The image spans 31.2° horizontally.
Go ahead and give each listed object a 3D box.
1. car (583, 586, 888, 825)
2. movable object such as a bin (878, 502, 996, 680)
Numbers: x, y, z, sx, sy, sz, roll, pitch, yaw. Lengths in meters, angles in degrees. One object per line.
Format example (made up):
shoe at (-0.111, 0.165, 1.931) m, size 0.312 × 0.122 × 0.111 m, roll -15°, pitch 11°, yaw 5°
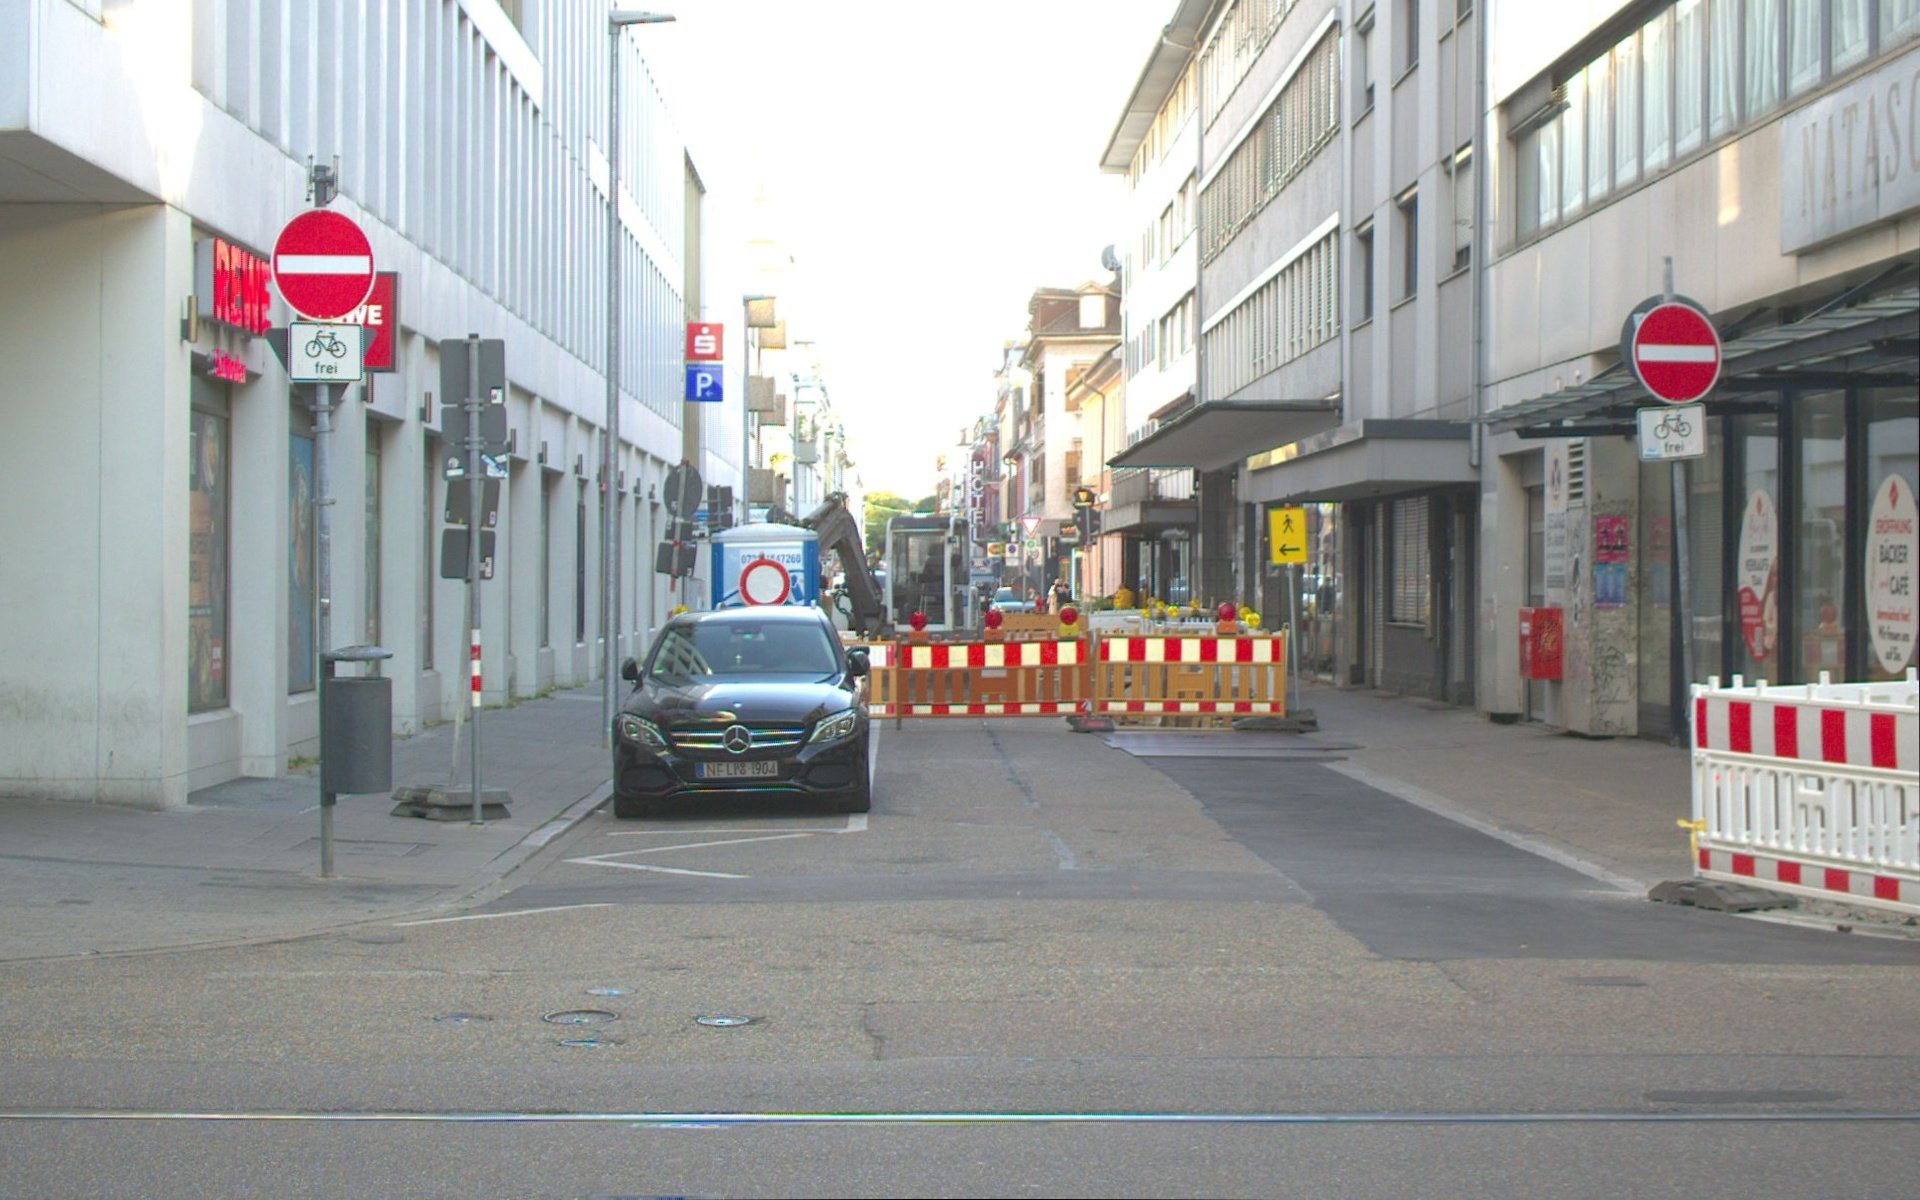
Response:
car at (-1.565, 0.718, 25.338) m, size 1.897 × 1.607 × 4.152 m, roll 0°, pitch 0°, yaw 1°
movable object such as a bin at (-0.310, -0.135, 48.852) m, size 1.437 × 2.485 × 1.757 m, roll 0°, pitch 0°, yaw 8°
